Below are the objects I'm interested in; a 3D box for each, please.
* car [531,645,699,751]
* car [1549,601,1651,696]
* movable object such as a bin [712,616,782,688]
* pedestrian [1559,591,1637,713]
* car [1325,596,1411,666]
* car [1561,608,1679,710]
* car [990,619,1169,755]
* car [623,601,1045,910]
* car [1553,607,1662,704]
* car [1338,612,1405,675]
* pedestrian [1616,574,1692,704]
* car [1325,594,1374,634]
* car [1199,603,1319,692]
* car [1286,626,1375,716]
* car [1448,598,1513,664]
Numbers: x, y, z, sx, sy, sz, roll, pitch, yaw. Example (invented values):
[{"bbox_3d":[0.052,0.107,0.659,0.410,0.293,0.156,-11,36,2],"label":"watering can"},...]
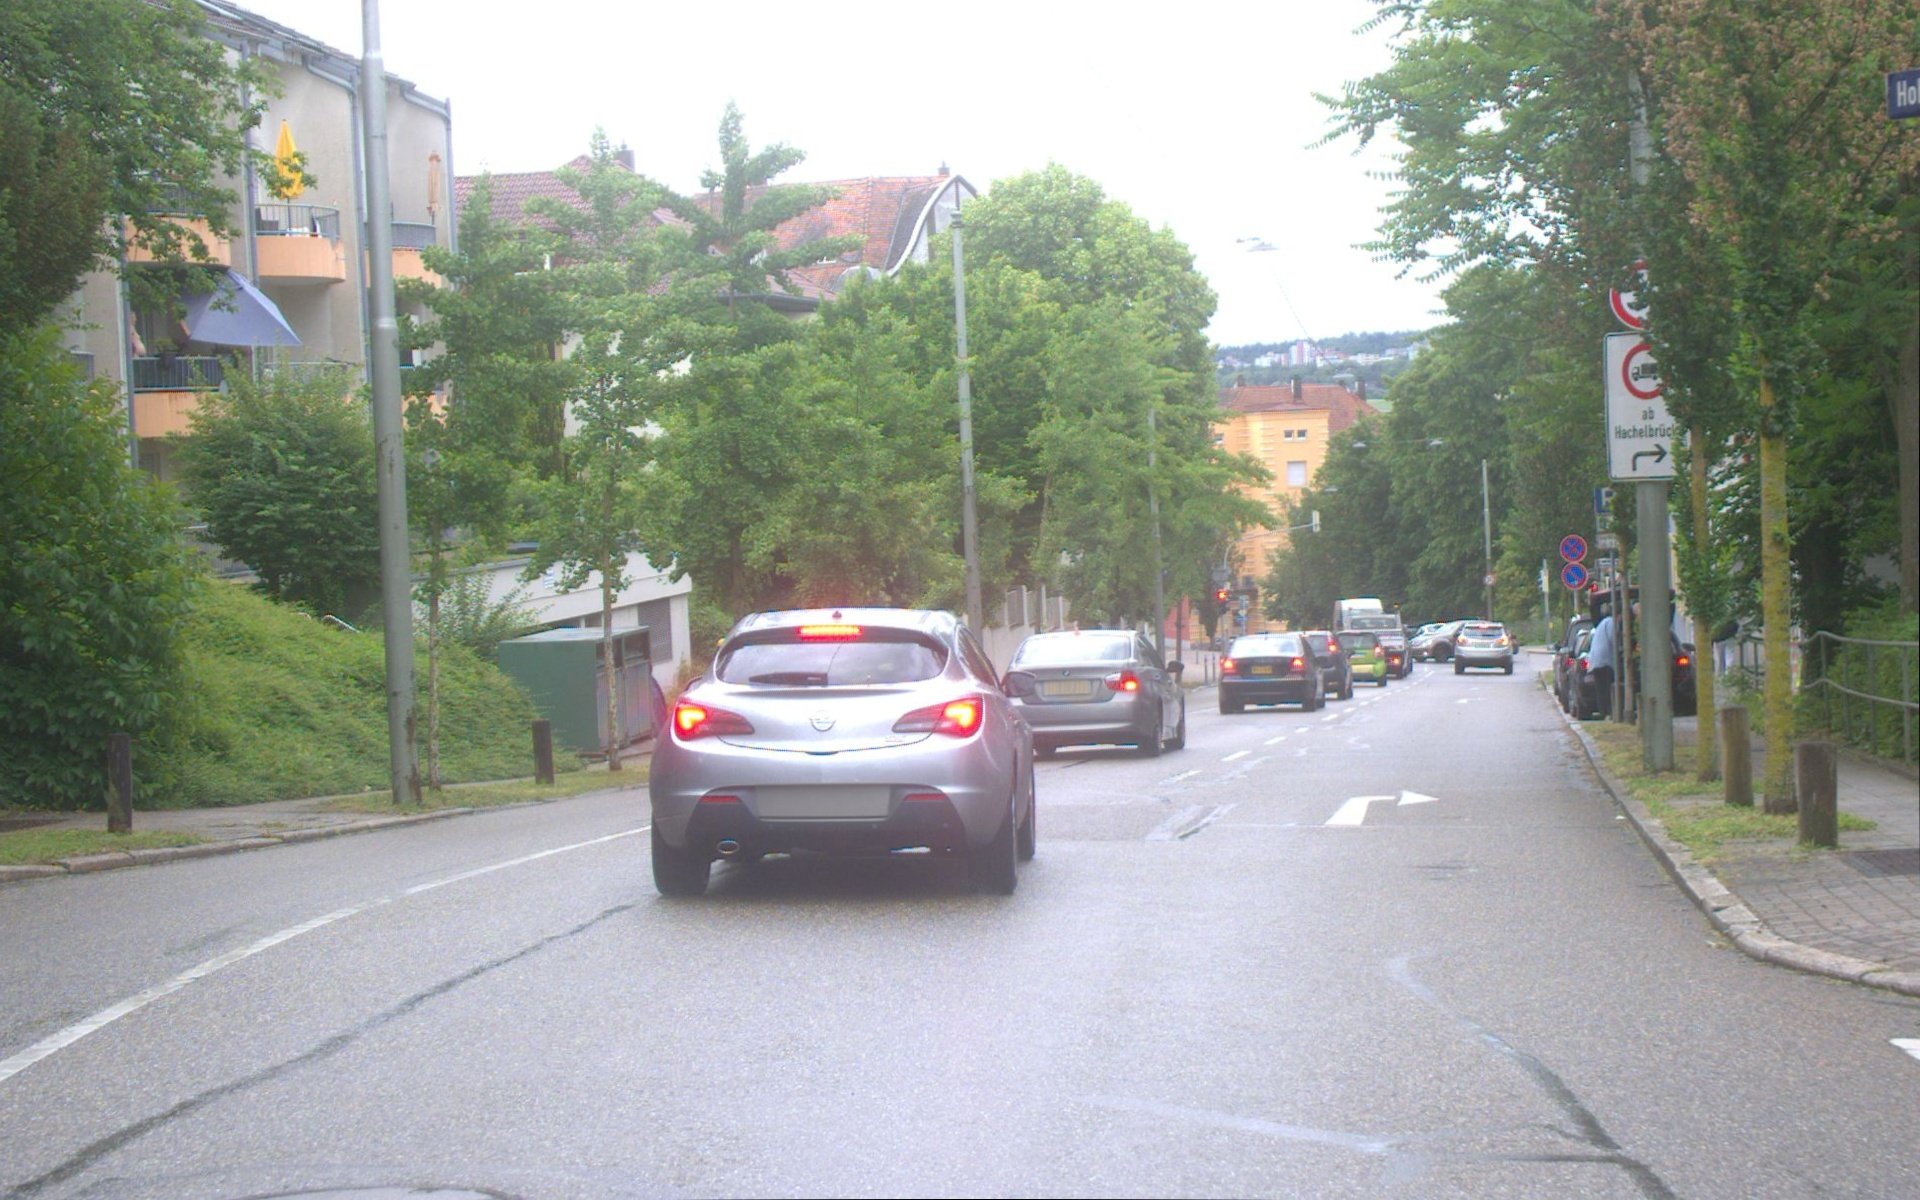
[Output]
[{"bbox_3d":[-5.473,1.534,55.009,1.742,1.452,3.883,-6,-1,7],"label":"car"},{"bbox_3d":[11.736,0.866,63.124,1.686,1.565,3.998,-3,0,10],"label":"car"},{"bbox_3d":[-4.189,1.015,67.685,1.272,1.382,0.489,-1,0,7],"label":"movable object such as a bin"},{"bbox_3d":[9.395,0.769,50.636,0.734,1.718,0.765,-5,0,-16],"label":"pedestrian"},{"bbox_3d":[12.430,0.916,104.431,2.335,2.029,4.733,1,1,10],"label":"car"},{"bbox_3d":[10.101,0.896,52.808,1.504,1.430,3.998,-3,-1,8],"label":"car"},{"bbox_3d":[1.364,0.913,37.781,1.798,1.318,4.000,-1,1,4],"label":"car"},{"bbox_3d":[-0.561,0.768,18.495,1.945,1.427,3.884,-2,-1,2],"label":"car"},{"bbox_3d":[11.000,0.915,58.493,1.682,1.459,3.998,-3,0,10],"label":"car"},{"bbox_3d":[11.233,1.180,93.777,1.754,1.645,3.999,1,0,7],"label":"car"},{"bbox_3d":[10.164,0.574,50.352,0.664,1.830,0.688,-4,0,-45],"label":"pedestrian"},{"bbox_3d":[17.912,0.625,157.888,1.994,1.778,3.998,1,1,10],"label":"car"},{"bbox_3d":[5.399,0.823,61.639,1.961,1.467,3.950,1,1,7],"label":"car"},{"bbox_3d":[7.904,1.483,73.040,1.769,1.775,3.975,1,1,7],"label":"car"},{"bbox_3d":[17.040,0.978,112.412,1.994,2.029,4.733,1,1,9],"label":"car"}]
